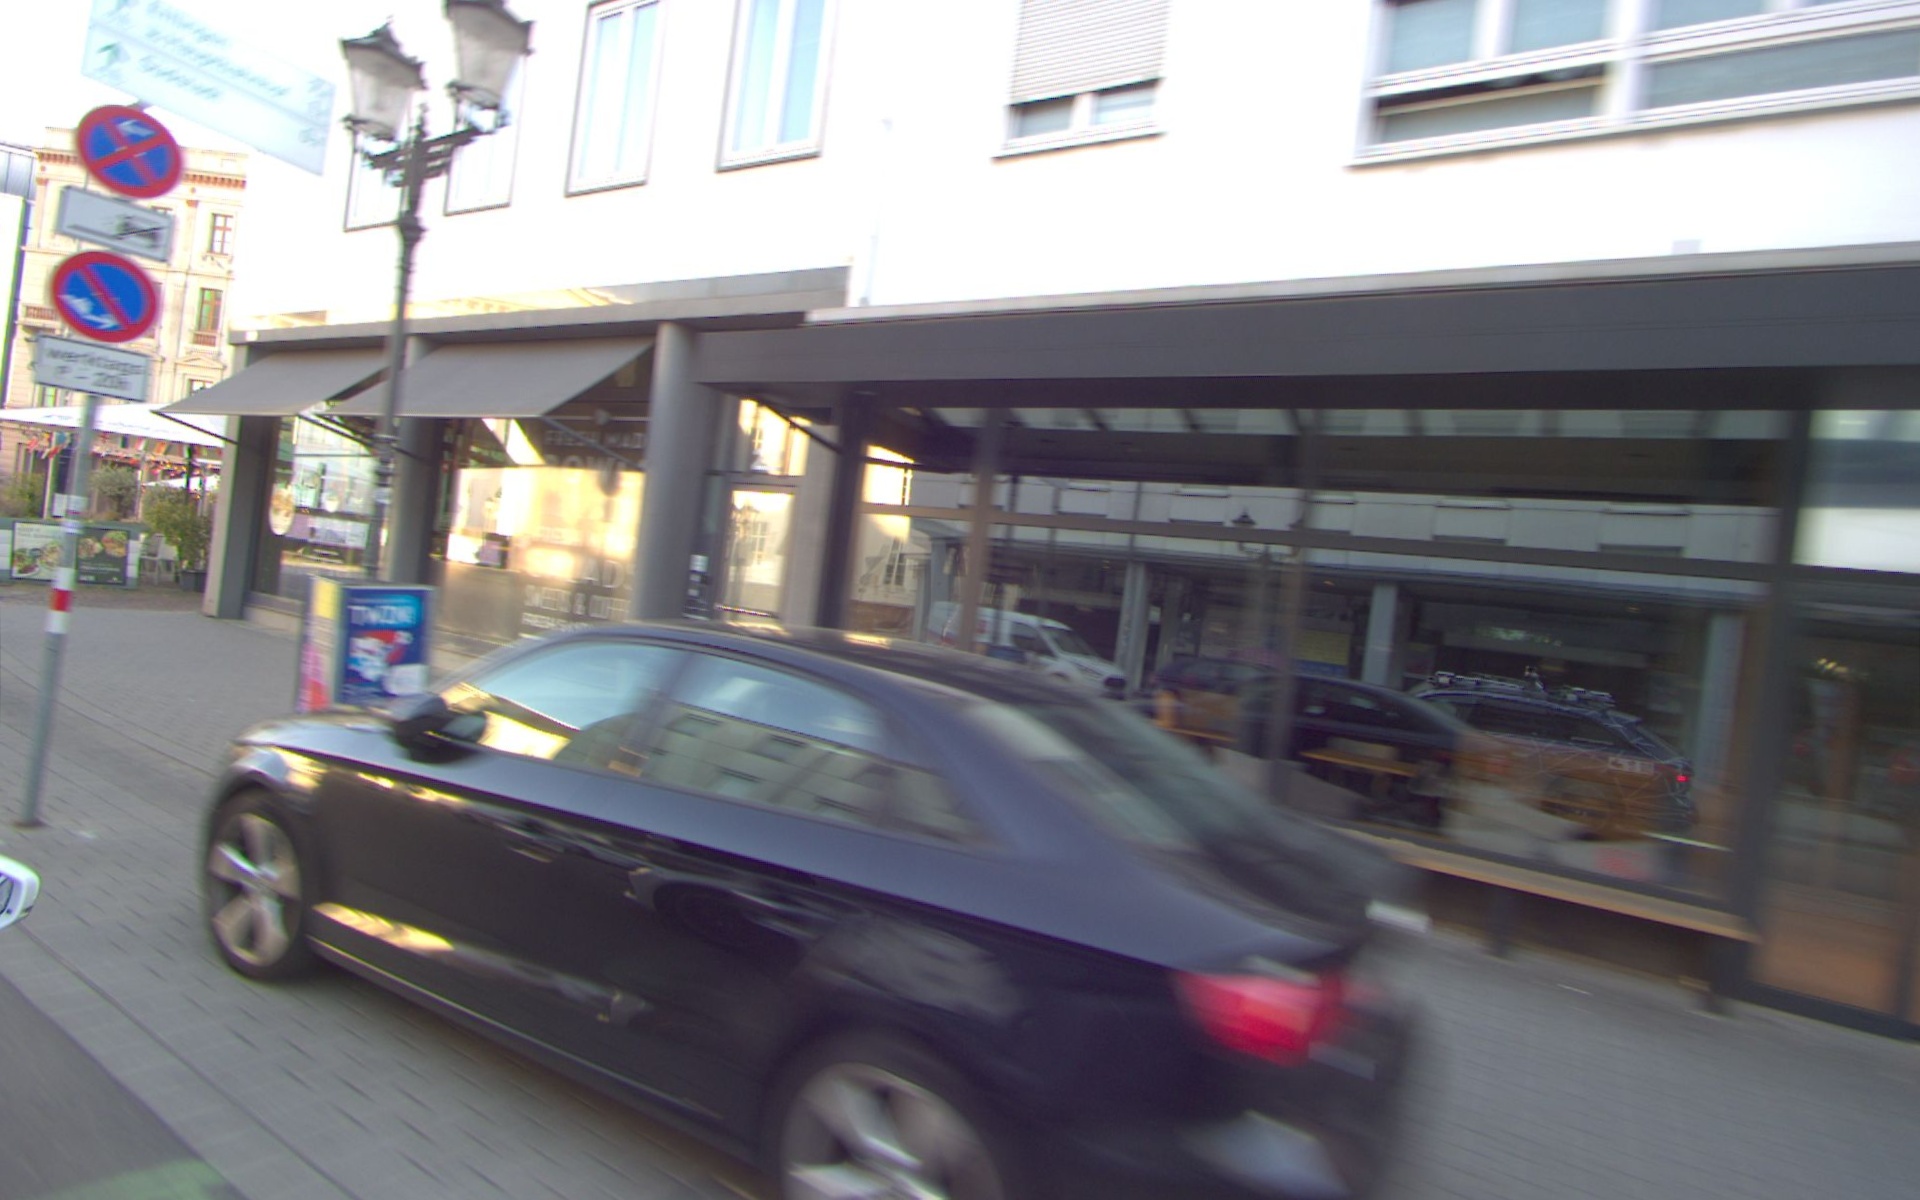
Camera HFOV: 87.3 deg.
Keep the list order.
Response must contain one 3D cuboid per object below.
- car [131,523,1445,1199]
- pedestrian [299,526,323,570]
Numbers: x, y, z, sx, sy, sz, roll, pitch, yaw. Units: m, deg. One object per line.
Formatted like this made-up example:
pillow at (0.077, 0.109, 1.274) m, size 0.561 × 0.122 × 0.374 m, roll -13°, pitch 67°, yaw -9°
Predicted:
car at (-0.721, 0.737, 3.413) m, size 4.046 × 1.482 × 1.805 m, roll 7°, pitch 0°, yaw 29°
pedestrian at (-23.216, -1.857, 35.992) m, size 0.526 × 1.497 × 0.556 m, roll 7°, pitch 1°, yaw -39°
